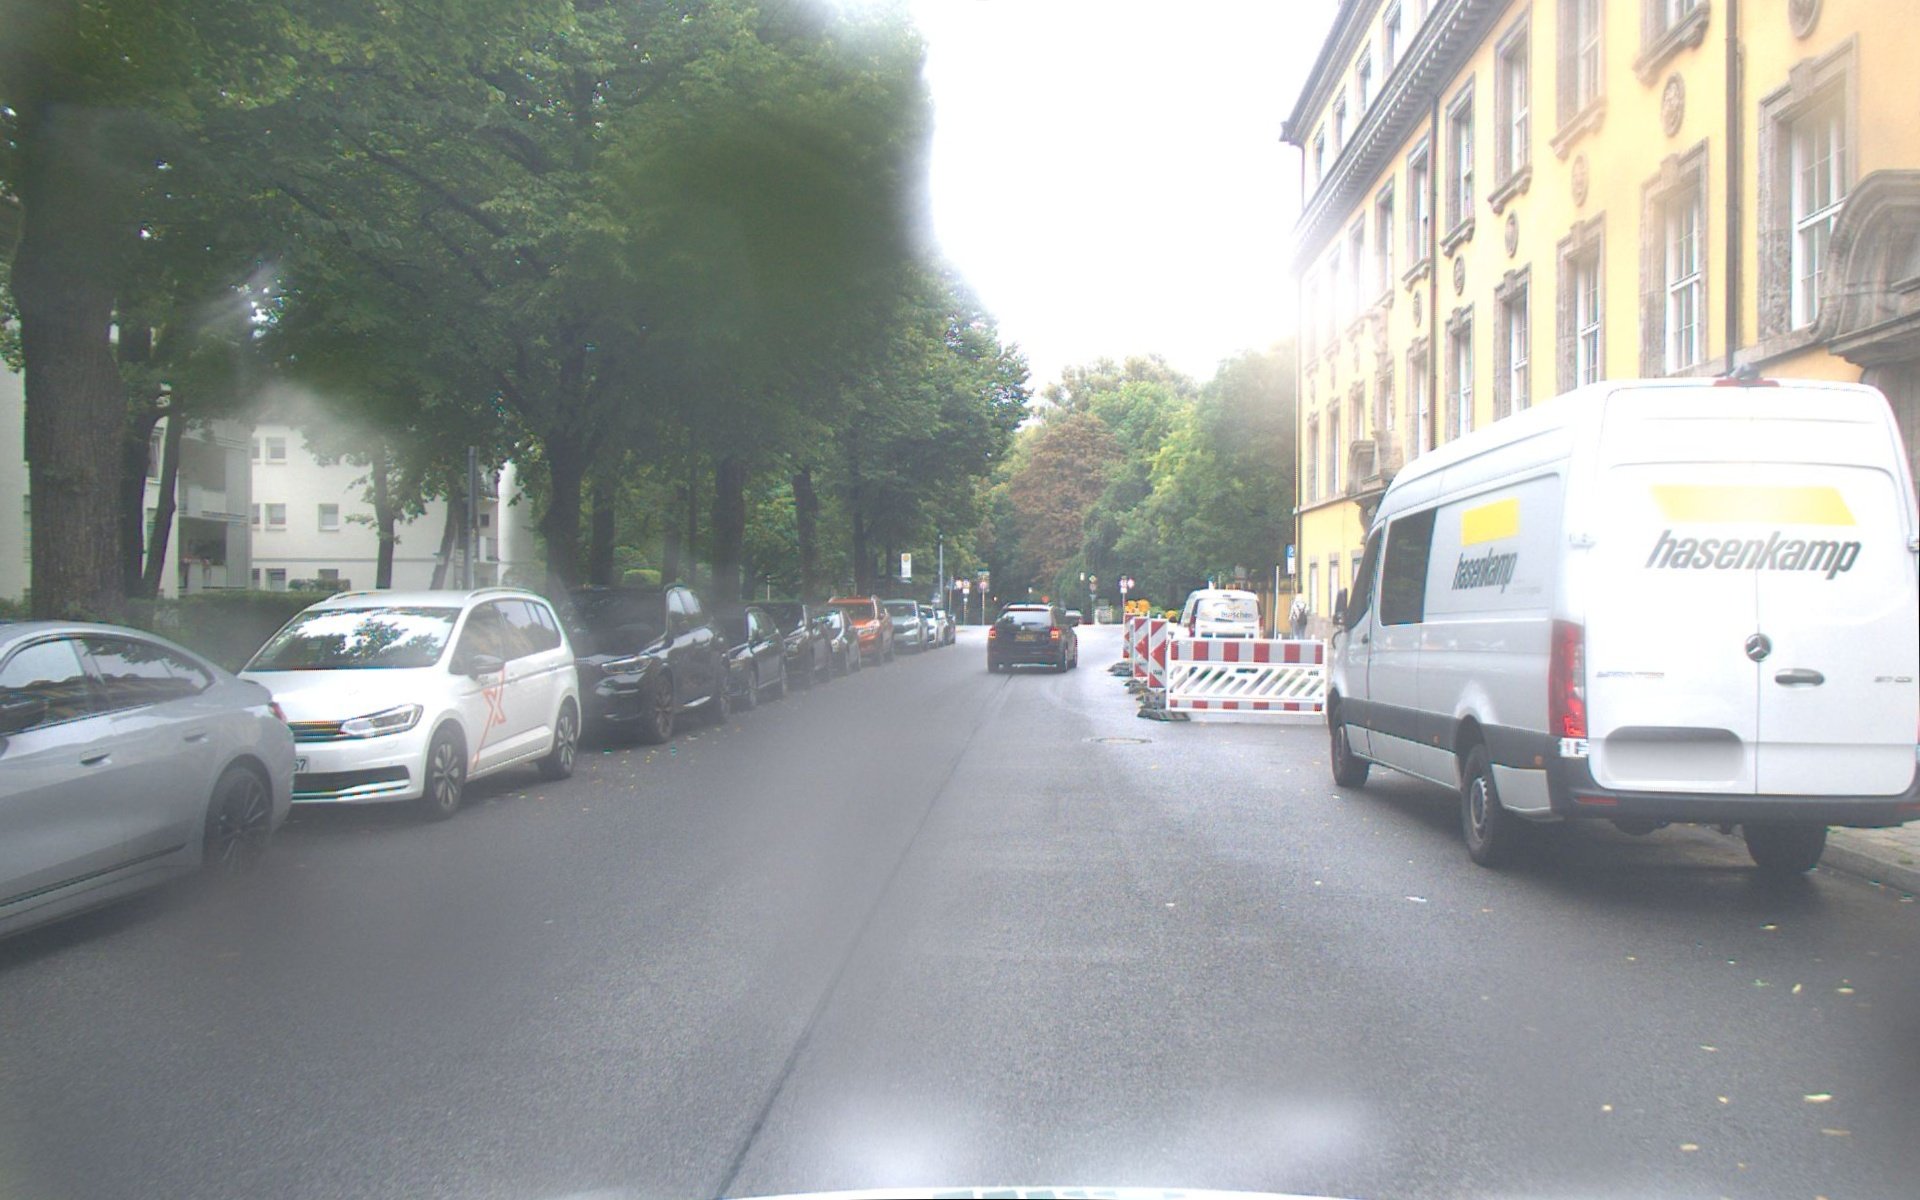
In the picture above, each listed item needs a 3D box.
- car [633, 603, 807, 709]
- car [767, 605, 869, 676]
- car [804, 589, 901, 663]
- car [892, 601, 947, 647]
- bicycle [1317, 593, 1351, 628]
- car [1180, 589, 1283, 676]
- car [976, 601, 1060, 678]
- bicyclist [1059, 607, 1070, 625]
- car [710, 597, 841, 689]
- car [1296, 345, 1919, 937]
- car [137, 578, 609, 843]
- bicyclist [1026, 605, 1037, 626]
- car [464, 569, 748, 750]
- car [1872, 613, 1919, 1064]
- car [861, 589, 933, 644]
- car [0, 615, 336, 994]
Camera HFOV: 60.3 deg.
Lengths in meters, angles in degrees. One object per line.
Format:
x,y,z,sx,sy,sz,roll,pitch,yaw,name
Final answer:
-3.583,0.799,25.499,1.682,1.476,4.698,0,0,4,car
-3.056,0.854,36.405,1.691,1.447,4.253,0,0,3,car
-2.677,0.637,42.165,1.833,1.758,4.643,0,0,4,car
-1.364,0.800,56.745,1.544,1.523,4.201,0,0,3,car
11.108,0.324,49.192,0.666,1.024,2.058,0,-1,3,bicycle
5.845,0.703,36.036,1.703,1.780,4.357,0,-1,2,car
1.330,0.842,36.725,1.544,1.611,4.047,0,0,6,car
6.975,1.080,110.644,0.668,1.208,0.480,0,0,-11,bicyclist
-3.363,0.741,30.891,1.749,1.602,4.487,0,0,3,car
4.015,0.213,11.418,2.012,2.720,7.615,0,0,1,car
-4.291,0.736,12.966,1.728,1.650,4.525,-2,-1,5,car
5.377,1.157,124.503,0.667,1.530,0.900,0,0,-5,bicyclist
-3.984,0.626,19.568,1.951,1.828,4.923,-1,0,4,car
4.030,0.772,3.591,1.832,1.483,4.256,0,0,1,car
-1.896,0.493,51.043,1.777,1.629,4.515,0,0,3,car
-4.653,0.818,7.181,1.771,1.495,4.999,0,0,3,car
